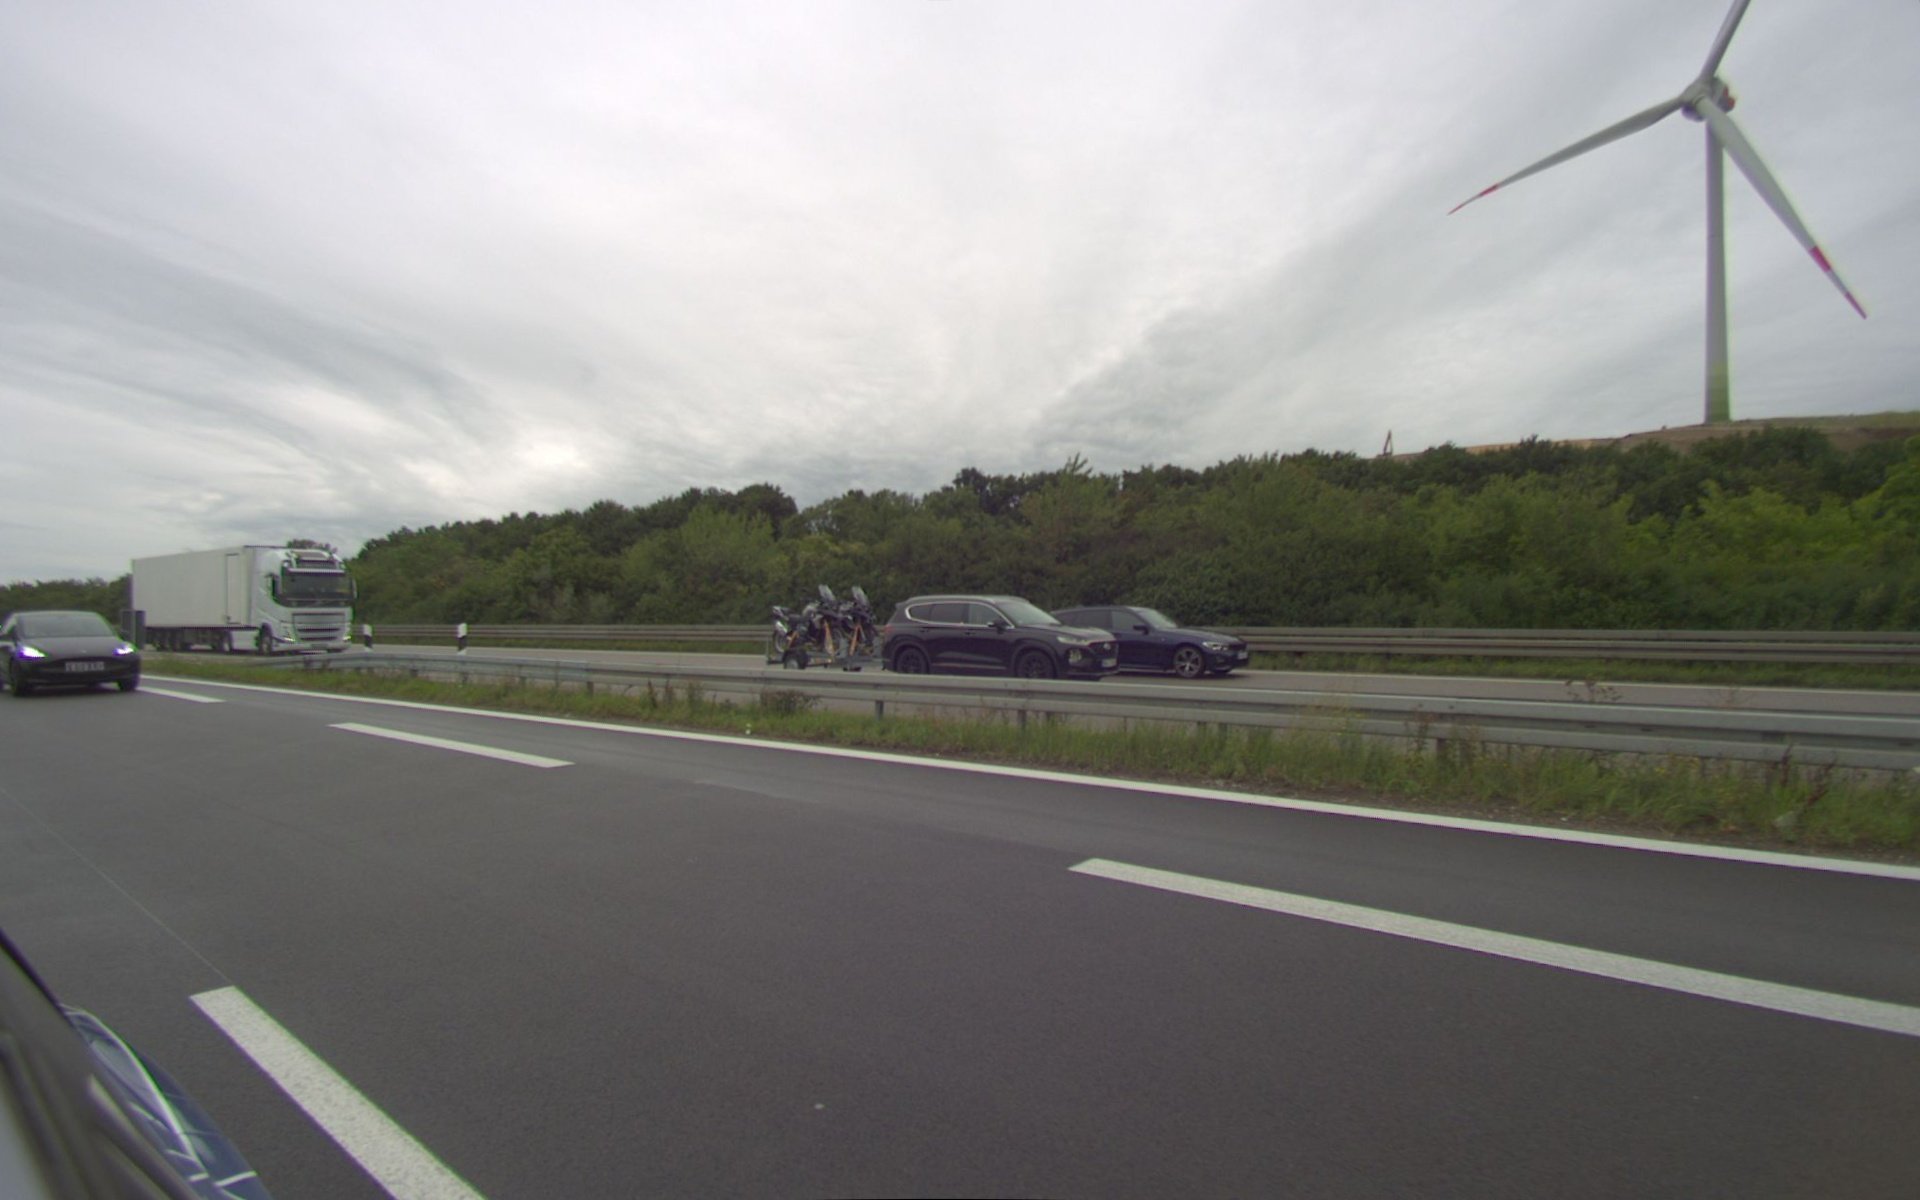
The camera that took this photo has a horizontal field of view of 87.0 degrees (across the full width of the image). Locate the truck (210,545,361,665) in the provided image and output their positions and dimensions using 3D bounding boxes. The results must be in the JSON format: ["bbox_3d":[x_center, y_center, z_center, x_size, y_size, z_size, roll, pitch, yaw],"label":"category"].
[{"bbox_3d":[-25.548,0.209,38.217,6.433,4.166,2.741,-1,-1,37],"label":"truck"}]

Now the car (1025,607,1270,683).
[{"bbox_3d":[3.826,0.870,21.172,4.767,1.402,1.787,0,0,37],"label":"car"}]

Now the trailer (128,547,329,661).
[{"bbox_3d":[-30.761,0.253,42.122,13.926,4.166,2.741,-1,0,37],"label":"trailer"}]

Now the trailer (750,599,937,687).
[{"bbox_3d":[-2.461,0.828,21.081,3.606,1.638,1.864,-1,0,38],"label":"trailer"}]

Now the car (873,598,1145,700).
[{"bbox_3d":[0.798,0.800,18.521,4.800,1.638,1.864,0,0,38],"label":"car"}]

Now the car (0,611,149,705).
[{"bbox_3d":[-18.194,1.069,20.446,4.549,1.650,1.942,0,0,39],"label":"car"}]
